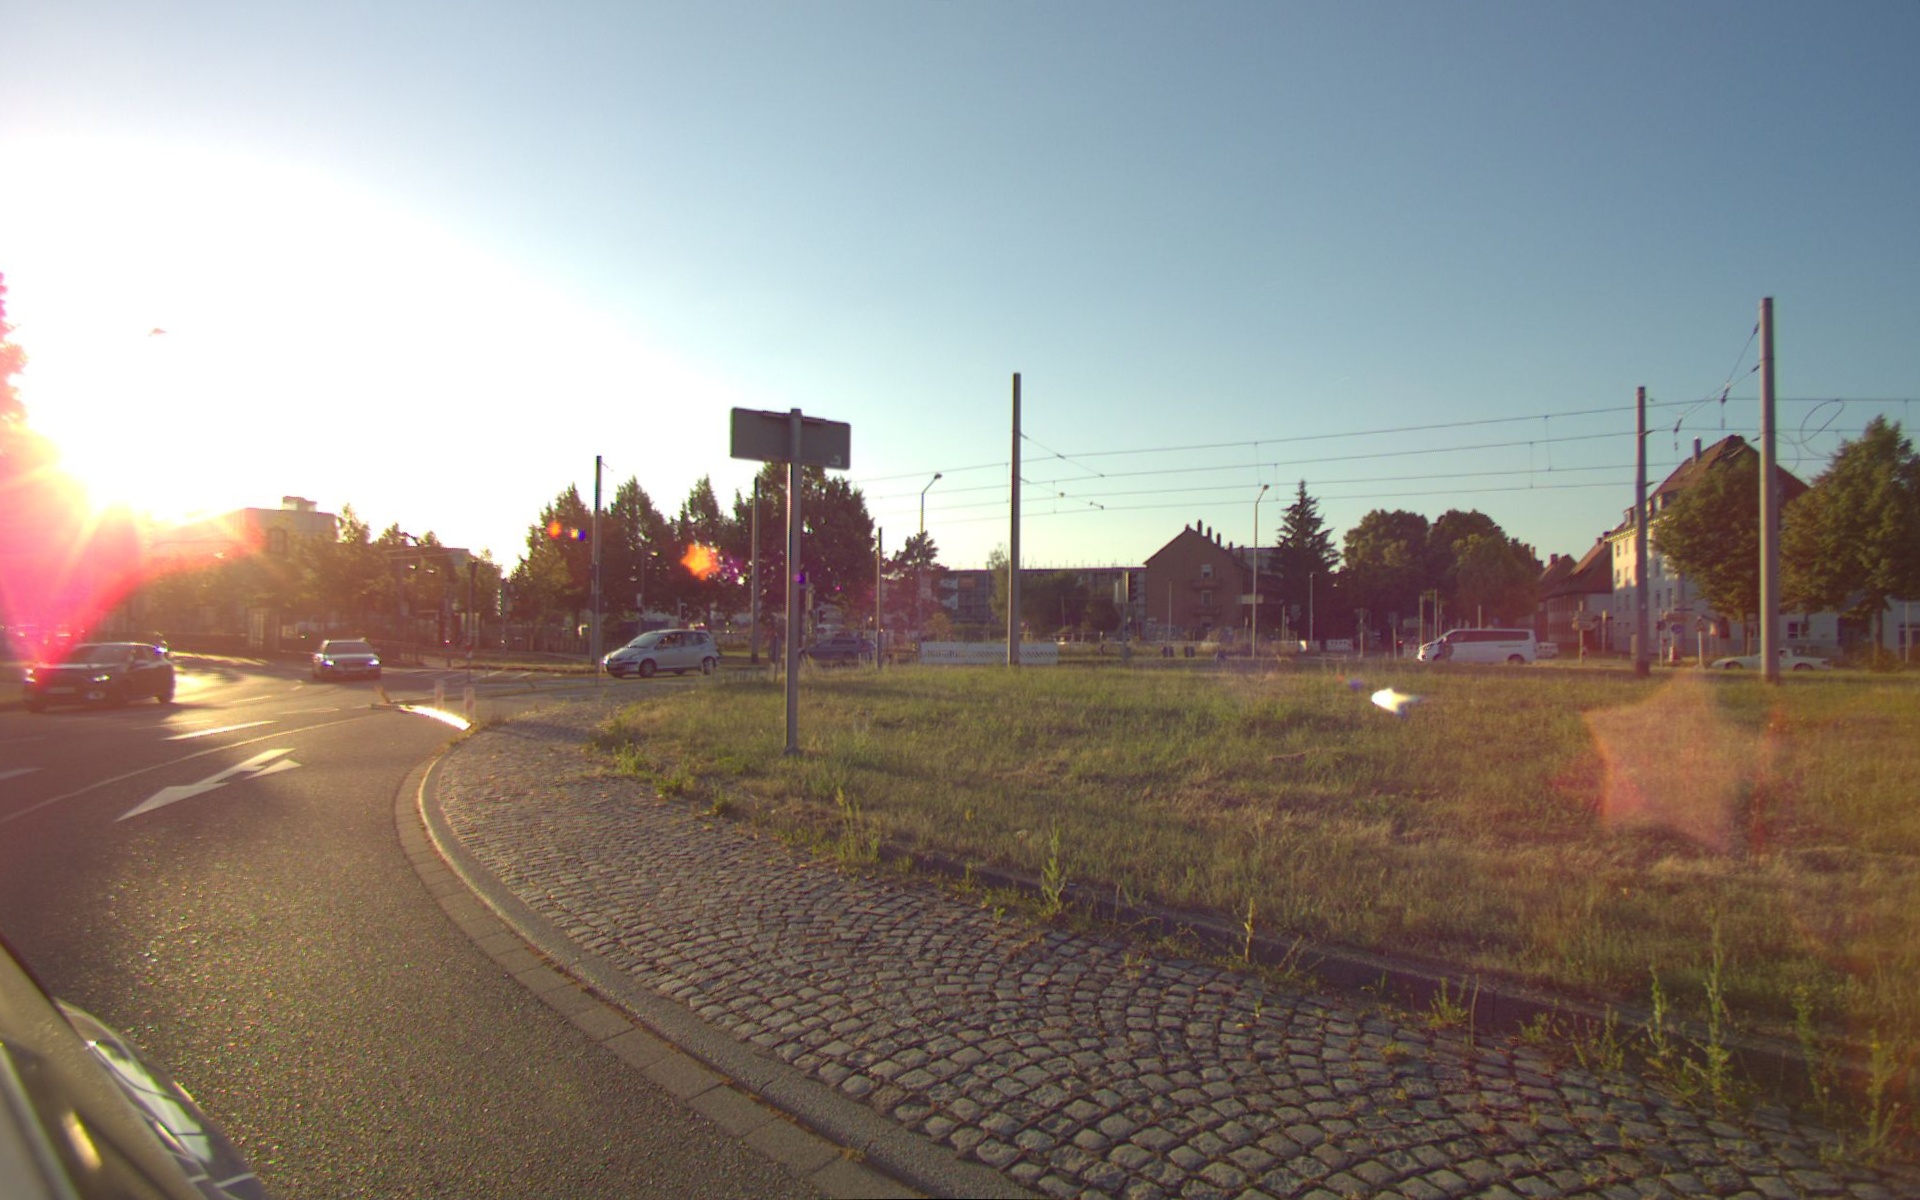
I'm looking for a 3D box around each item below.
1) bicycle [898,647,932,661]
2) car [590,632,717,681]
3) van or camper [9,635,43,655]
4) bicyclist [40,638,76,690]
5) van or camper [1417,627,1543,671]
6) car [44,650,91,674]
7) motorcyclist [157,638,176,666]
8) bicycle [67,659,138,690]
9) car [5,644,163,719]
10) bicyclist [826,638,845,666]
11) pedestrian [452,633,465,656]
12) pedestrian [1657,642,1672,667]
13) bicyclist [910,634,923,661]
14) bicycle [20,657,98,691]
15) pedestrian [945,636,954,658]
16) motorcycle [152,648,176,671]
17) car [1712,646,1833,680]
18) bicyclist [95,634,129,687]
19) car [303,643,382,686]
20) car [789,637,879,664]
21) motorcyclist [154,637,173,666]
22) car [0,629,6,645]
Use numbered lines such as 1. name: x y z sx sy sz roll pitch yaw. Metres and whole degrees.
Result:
1. bicycle: -2.741 3.300 61.706 2.106 0.852 0.512 0 -2 1
2. car: -9.816 1.796 32.606 1.604 1.477 3.663 -2 -3 38
3. van or camper: -96.177 4.612 104.157 5.326 1.972 1.973 -1 -2 41
4. bicyclist: -28.961 2.046 32.486 0.682 1.661 0.677 -2 -3 32
5. van or camper: 25.537 2.427 49.945 5.266 2.025 1.901 -2 -3 22
6. car: -60.802 4.193 68.922 4.049 1.492 1.867 -1 -2 41
7. motorcyclist: -39.960 2.615 50.942 0.715 1.427 0.627 -1 -2 42
8. bicycle: -29.548 2.558 34.896 1.834 1.030 0.438 2 -3 -41
9. car: -19.413 1.748 22.636 1.772 1.475 4.012 1 -2 -28
10. bicyclist: -7.407 3.067 60.224 0.815 1.653 0.803 -2 -3 45
11. pedestrian: -36.393 3.238 73.462 0.446 1.645 0.699 -2 -3 39
12. pedestrian: 45.665 3.523 65.605 0.590 1.634 0.563 -1 -2 18
13. bicyclist: -2.656 2.913 61.655 0.787 1.646 0.695 0 -2 1
14. bicycle: -28.912 2.373 32.519 0.307 1.030 1.843 -2 -2 31
15. pedestrian: -0.659 2.960 64.012 0.498 1.377 0.432 -1 -2 10
16. motorcycle: -40.318 2.996 51.245 2.159 1.109 0.550 -1 -2 42
17. car: 33.327 2.557 41.563 3.779 1.265 1.558 -2 -1 42
18. bicyclist: -29.206 2.072 34.843 0.836 1.769 0.805 2 -3 -42
19. car: -21.966 2.241 35.924 1.774 1.434 4.456 1 -3 -39
20. car: -6.947 2.779 55.562 4.624 1.426 1.915 -1 -3 25
21. motorcyclist: -40.443 2.613 51.384 0.594 1.419 0.627 -1 -2 42
22. car: -114.137 4.360 119.360 3.995 1.852 1.697 -1 -2 38
